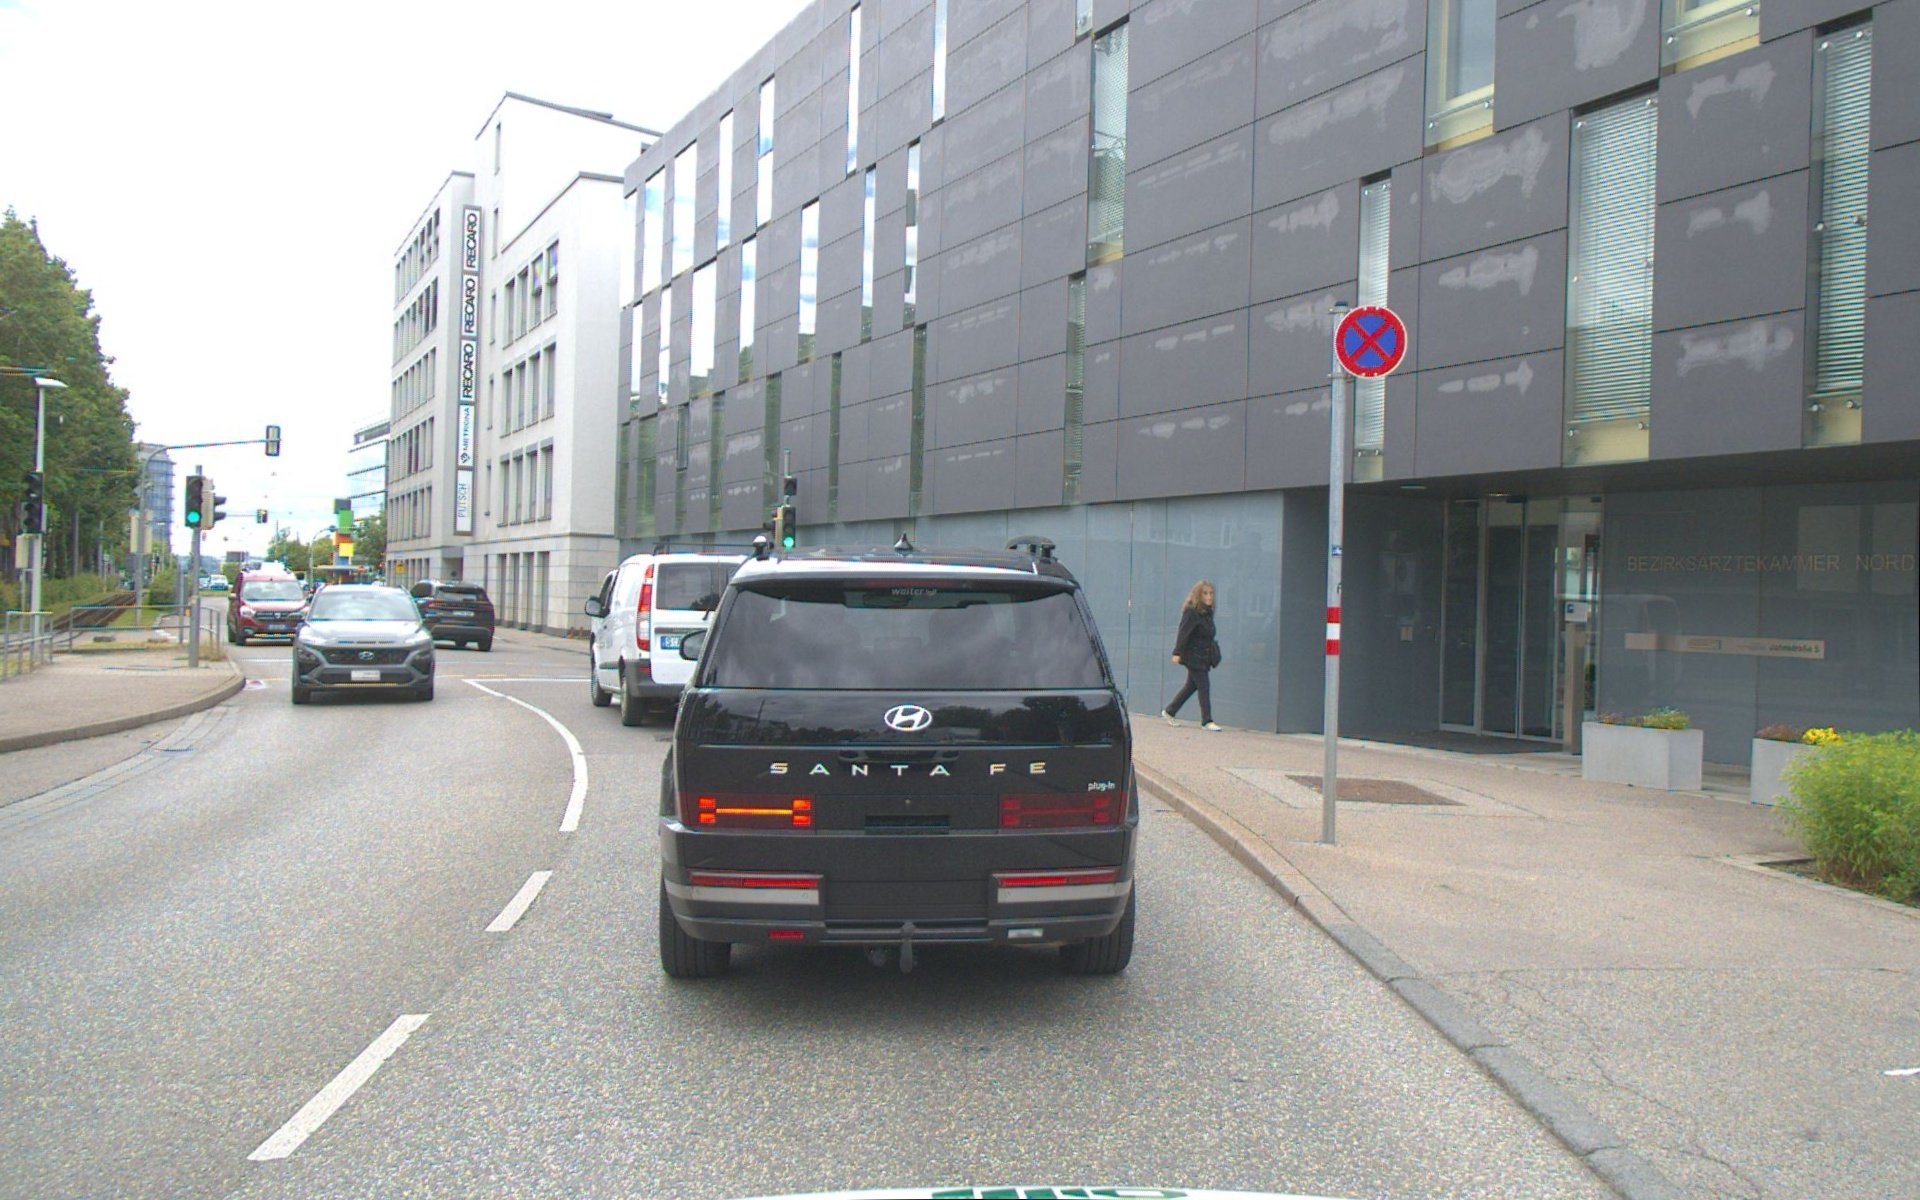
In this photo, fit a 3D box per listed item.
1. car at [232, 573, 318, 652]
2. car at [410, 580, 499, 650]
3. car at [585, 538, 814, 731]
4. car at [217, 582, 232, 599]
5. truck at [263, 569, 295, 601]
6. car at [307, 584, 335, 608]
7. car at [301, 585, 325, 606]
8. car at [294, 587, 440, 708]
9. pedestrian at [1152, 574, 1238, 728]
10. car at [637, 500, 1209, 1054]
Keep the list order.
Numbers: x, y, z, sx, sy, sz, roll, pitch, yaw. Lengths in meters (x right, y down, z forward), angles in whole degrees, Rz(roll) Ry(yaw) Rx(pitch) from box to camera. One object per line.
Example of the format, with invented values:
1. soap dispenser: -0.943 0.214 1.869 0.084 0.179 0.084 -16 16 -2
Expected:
1. car: -16.976 0.283 40.887 1.661 1.840 4.314 -1 0 -27
2. car: -12.649 0.346 41.257 1.735 1.637 4.159 1 0 -22
3. car: -3.242 0.364 19.791 1.903 2.029 4.509 1 0 -19
4. car: -87.480 -1.109 196.702 1.645 1.915 3.970 1 0 -24
5. truck: -58.662 -1.287 142.335 2.139 2.661 5.747 1 0 -26
6. car: -45.478 -0.303 117.673 1.735 1.637 4.159 1 0 -22
7. car: -52.481 -0.372 134.169 1.735 1.637 4.159 1 0 -22
8. car: -8.270 0.589 23.008 1.743 1.504 3.975 -1 0 -21
9. pedestrian: 2.751 0.583 19.287 0.844 1.724 0.714 2 -1 16
10. car: -0.344 0.570 7.614 1.872 1.780 4.390 0 0 -7
